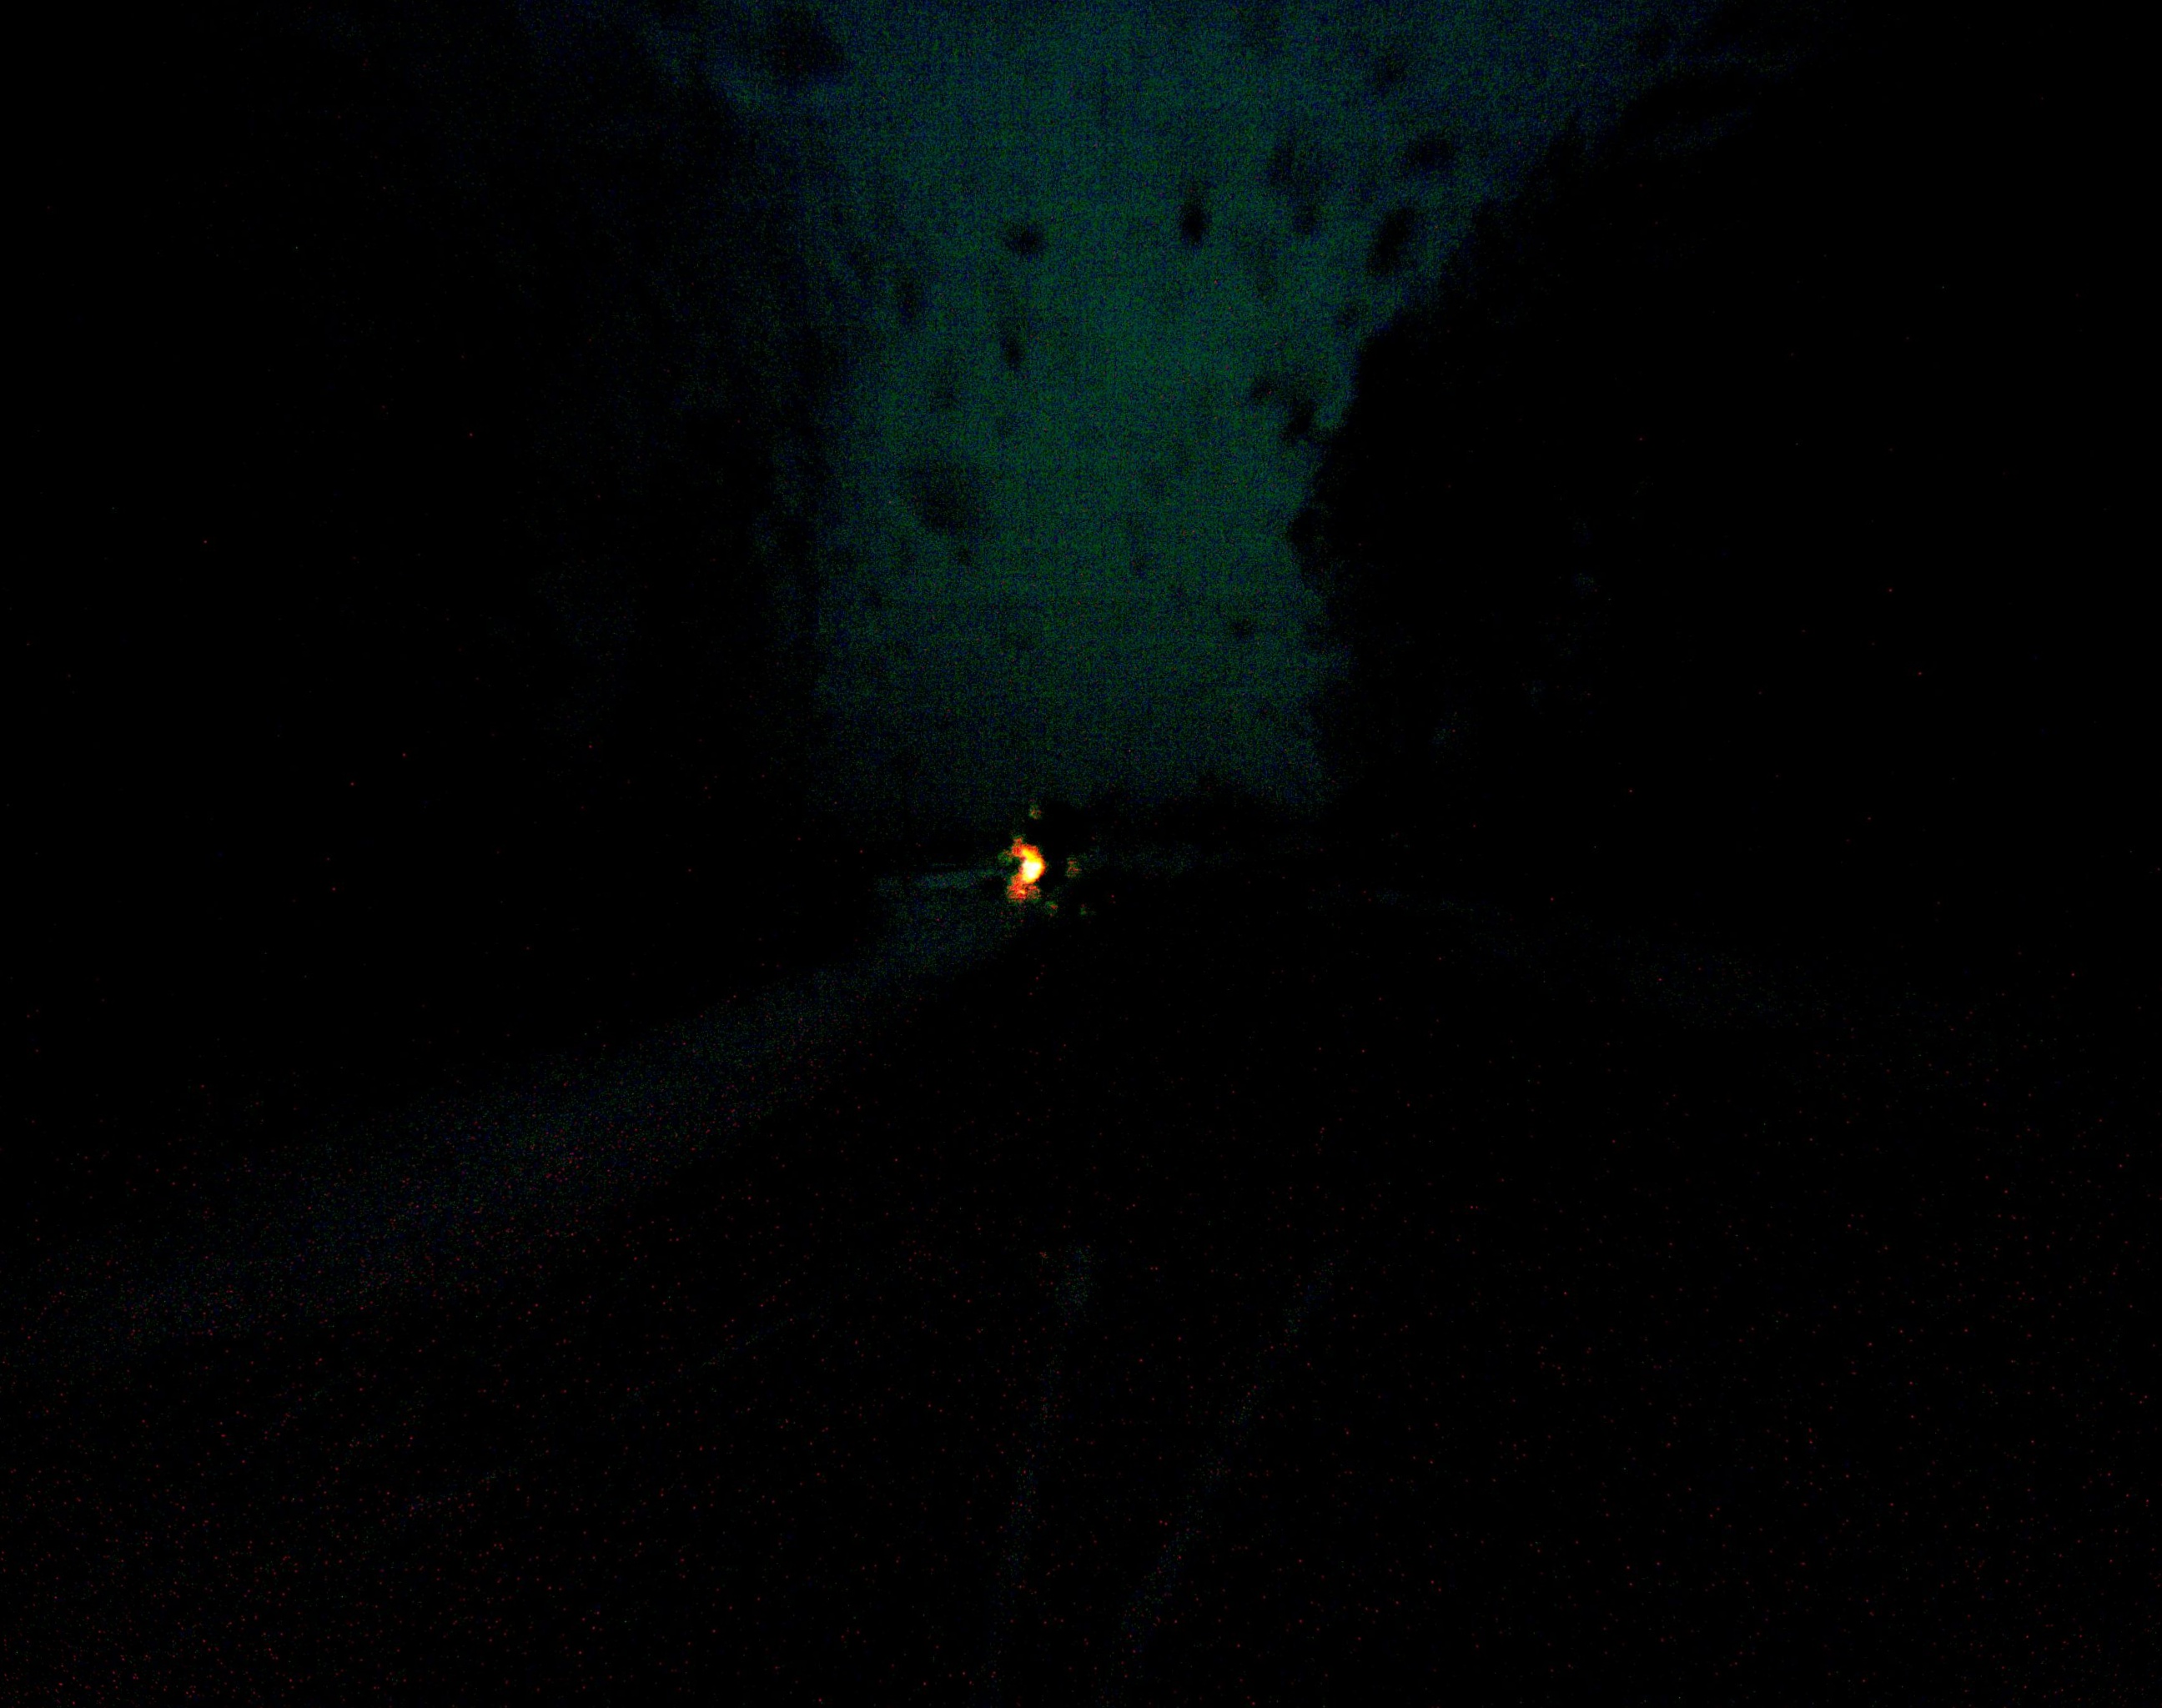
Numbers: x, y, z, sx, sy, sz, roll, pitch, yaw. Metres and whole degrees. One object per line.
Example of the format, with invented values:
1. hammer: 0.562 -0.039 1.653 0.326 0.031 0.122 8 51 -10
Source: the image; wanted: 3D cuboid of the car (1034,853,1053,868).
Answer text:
1. car: -5.882 1.004 119.073 2.000 2.002 3.995 -6 2 -13
